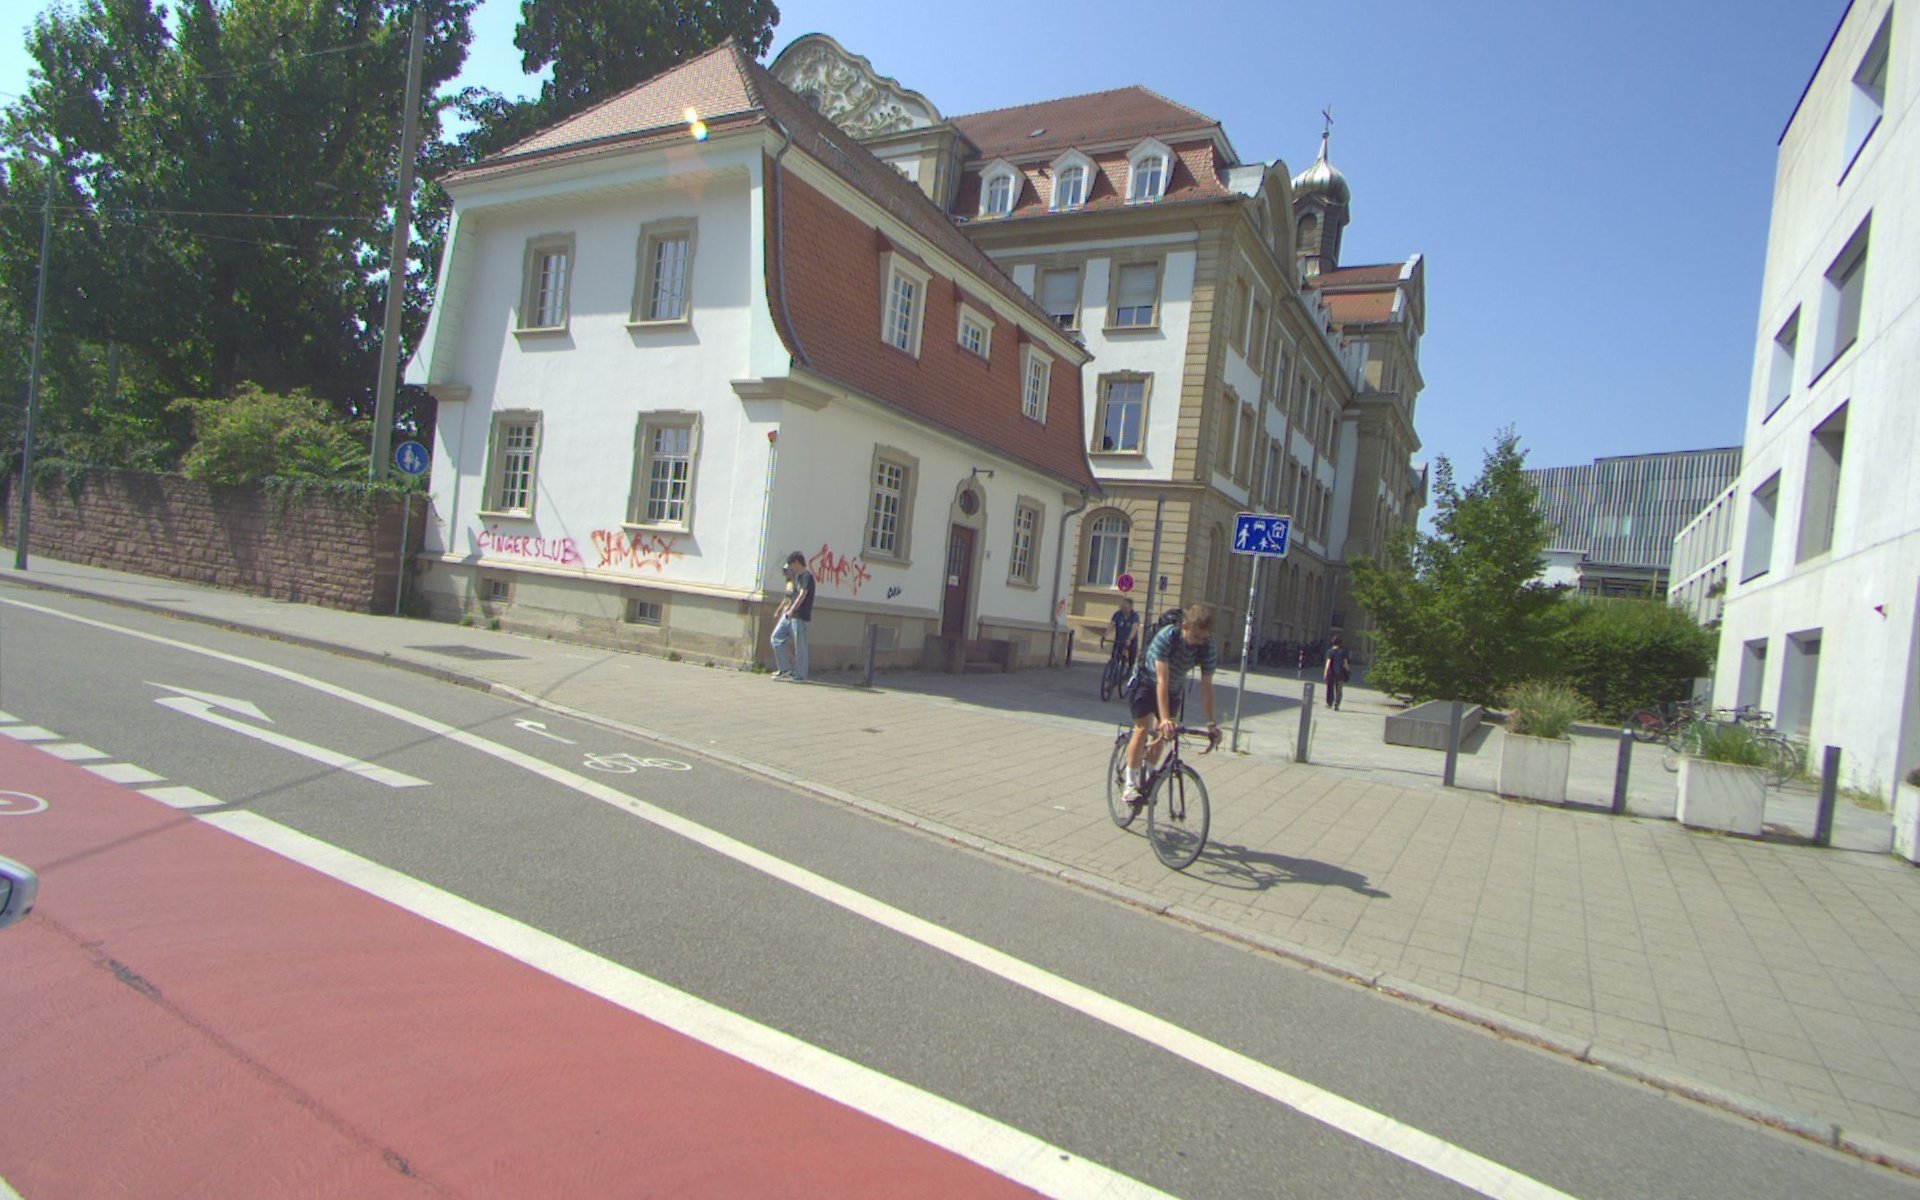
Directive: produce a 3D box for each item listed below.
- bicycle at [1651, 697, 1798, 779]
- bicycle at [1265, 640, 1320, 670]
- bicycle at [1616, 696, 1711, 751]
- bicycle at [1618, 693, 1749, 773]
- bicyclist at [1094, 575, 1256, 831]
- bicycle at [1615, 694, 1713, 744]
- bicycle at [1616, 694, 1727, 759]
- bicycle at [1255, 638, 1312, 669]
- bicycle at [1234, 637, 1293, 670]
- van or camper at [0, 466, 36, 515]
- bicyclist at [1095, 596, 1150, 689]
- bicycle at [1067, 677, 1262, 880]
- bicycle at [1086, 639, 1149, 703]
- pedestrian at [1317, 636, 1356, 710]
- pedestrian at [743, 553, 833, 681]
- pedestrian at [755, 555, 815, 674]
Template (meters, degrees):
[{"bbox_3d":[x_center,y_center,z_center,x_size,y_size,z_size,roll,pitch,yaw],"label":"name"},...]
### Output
[{"bbox_3d":[11.314,2.023,14.949,1.659,0.966,0.618,4,-1,37],"label":"bicycle"},{"bbox_3d":[14.171,2.332,42.879,2.100,1.015,0.492,6,1,29],"label":"bicycle"},{"bbox_3d":[15.583,2.729,22.314,1.599,0.949,0.456,6,1,29],"label":"bicycle"},{"bbox_3d":[12.089,2.196,16.837,1.643,1.013,0.612,7,3,41],"label":"bicycle"},{"bbox_3d":[1.465,0.672,7.016,0.617,1.618,0.990,6,1,-10],"label":"bicyclist"},{"bbox_3d":[16.030,2.701,22.948,1.678,0.884,0.513,6,1,24],"label":"bicycle"},{"bbox_3d":[14.009,2.474,19.833,1.643,1.012,0.613,6,1,41],"label":"bicycle"},{"bbox_3d":[13.463,2.232,41.907,2.100,1.015,0.492,6,1,29],"label":"bicycle"},{"bbox_3d":[11.966,2.104,39.670,2.100,1.015,0.492,6,1,29],"label":"bicycle"},{"bbox_3d":[-71.939,-8.298,74.869,2.377,3.348,7.145,6,0,-25],"label":"van or camper"},{"bbox_3d":[2.898,0.732,17.926,0.617,1.560,0.902,6,3,23],"label":"bicyclist"},{"bbox_3d":[1.373,1.193,7.139,0.606,1.013,1.705,6,3,-13],"label":"bicycle"},{"bbox_3d":[2.835,1.241,17.936,0.605,1.013,1.709,7,1,23],"label":"bicycle"},{"bbox_3d":[8.570,1.650,22.923,0.592,1.599,0.741,6,1,14],"label":"pedestrian"},{"bbox_3d":[-2.428,0.239,14.194,0.871,1.686,0.723,6,1,-34],"label":"pedestrian"},{"bbox_3d":[-2.606,0.216,14.943,0.482,1.687,0.614,6,1,-35],"label":"pedestrian"}]
